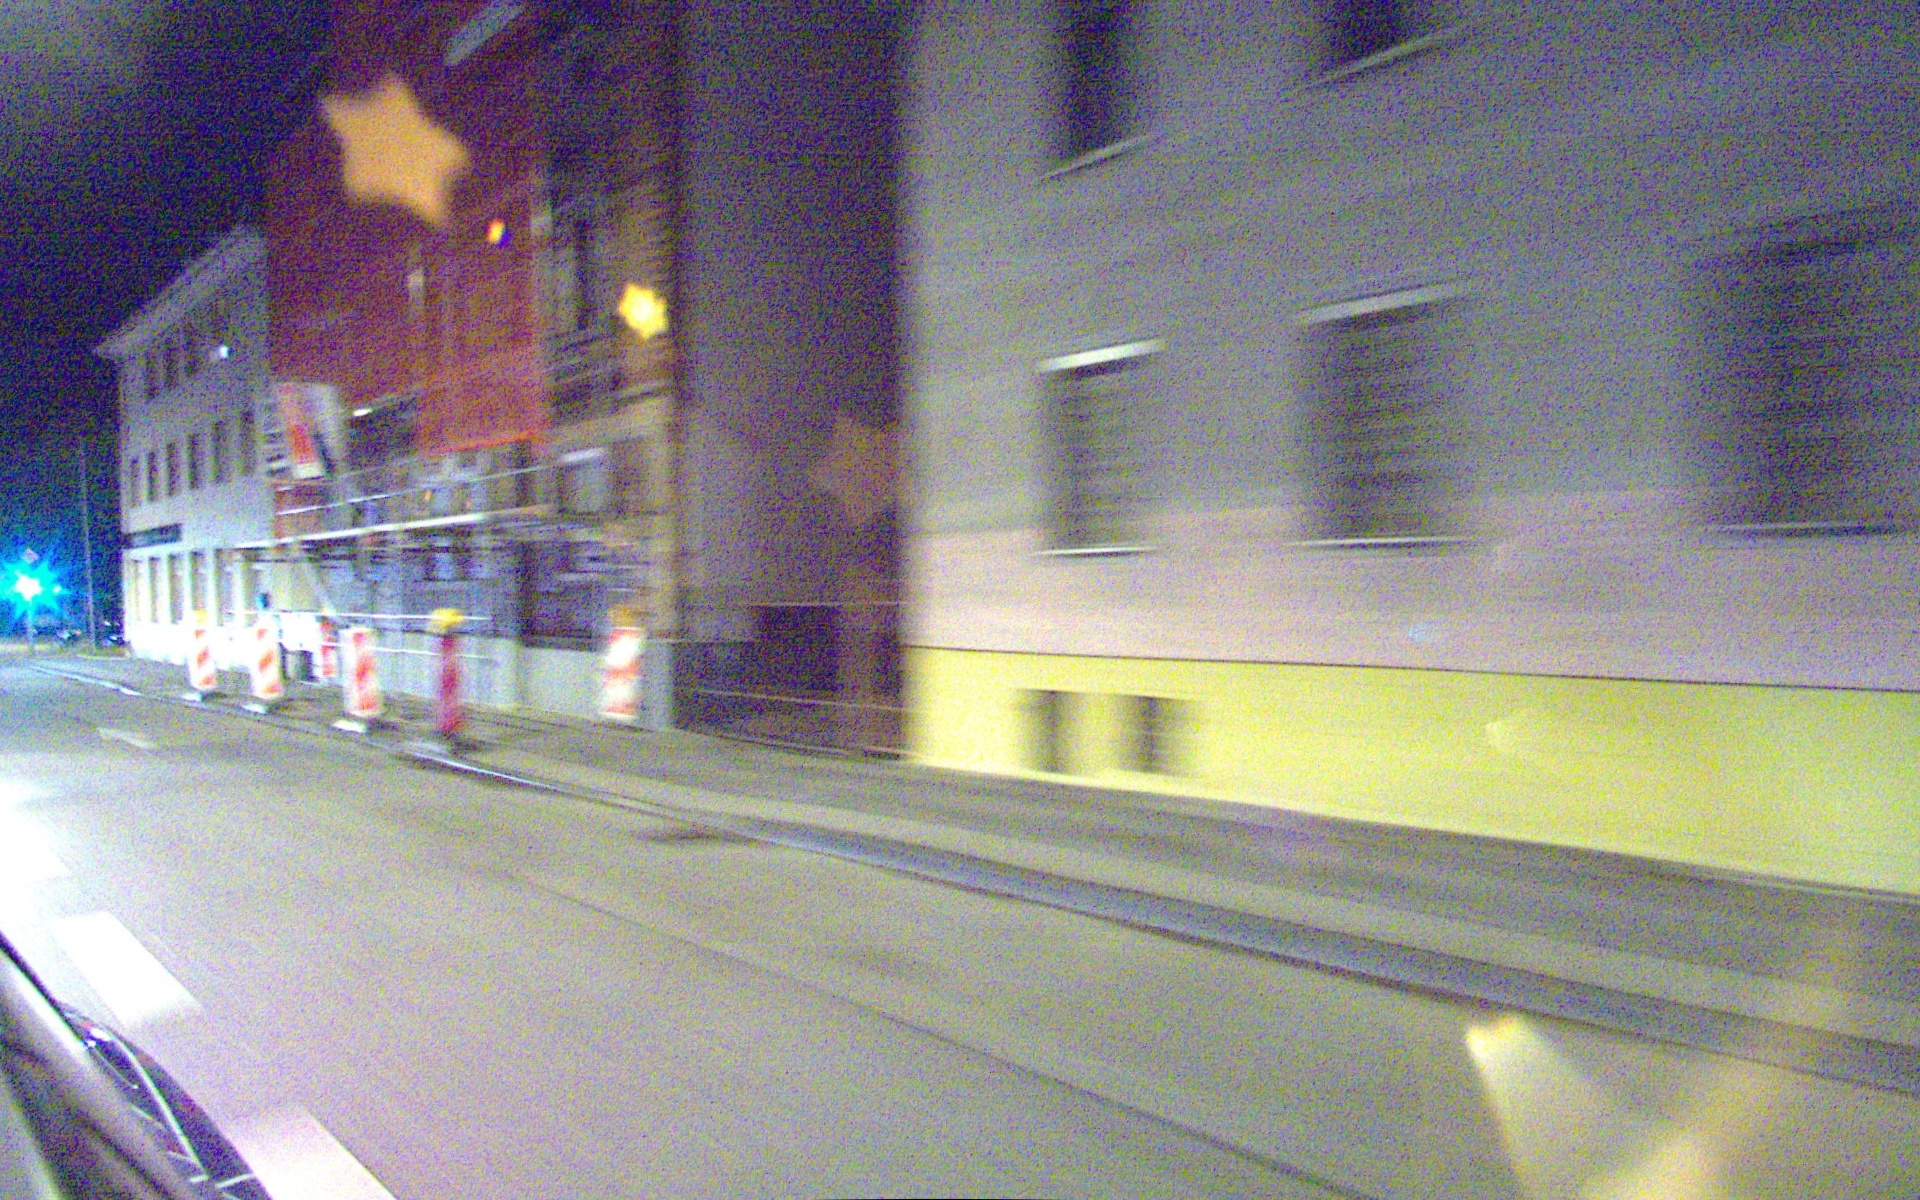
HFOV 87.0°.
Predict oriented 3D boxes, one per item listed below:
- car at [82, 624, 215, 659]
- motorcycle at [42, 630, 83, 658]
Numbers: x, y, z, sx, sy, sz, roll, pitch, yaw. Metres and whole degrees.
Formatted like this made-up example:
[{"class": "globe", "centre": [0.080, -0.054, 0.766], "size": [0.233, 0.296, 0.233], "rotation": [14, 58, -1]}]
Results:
[{"class": "car", "centre": [-35.273, 1.771, 44.021], "size": [4.677, 1.435, 1.887], "rotation": [0, -1, 10]}, {"class": "motorcycle", "centre": [-39.186, 1.903, 44.181], "size": [2.020, 1.188, 0.569], "rotation": [-1, -1, 24]}]
